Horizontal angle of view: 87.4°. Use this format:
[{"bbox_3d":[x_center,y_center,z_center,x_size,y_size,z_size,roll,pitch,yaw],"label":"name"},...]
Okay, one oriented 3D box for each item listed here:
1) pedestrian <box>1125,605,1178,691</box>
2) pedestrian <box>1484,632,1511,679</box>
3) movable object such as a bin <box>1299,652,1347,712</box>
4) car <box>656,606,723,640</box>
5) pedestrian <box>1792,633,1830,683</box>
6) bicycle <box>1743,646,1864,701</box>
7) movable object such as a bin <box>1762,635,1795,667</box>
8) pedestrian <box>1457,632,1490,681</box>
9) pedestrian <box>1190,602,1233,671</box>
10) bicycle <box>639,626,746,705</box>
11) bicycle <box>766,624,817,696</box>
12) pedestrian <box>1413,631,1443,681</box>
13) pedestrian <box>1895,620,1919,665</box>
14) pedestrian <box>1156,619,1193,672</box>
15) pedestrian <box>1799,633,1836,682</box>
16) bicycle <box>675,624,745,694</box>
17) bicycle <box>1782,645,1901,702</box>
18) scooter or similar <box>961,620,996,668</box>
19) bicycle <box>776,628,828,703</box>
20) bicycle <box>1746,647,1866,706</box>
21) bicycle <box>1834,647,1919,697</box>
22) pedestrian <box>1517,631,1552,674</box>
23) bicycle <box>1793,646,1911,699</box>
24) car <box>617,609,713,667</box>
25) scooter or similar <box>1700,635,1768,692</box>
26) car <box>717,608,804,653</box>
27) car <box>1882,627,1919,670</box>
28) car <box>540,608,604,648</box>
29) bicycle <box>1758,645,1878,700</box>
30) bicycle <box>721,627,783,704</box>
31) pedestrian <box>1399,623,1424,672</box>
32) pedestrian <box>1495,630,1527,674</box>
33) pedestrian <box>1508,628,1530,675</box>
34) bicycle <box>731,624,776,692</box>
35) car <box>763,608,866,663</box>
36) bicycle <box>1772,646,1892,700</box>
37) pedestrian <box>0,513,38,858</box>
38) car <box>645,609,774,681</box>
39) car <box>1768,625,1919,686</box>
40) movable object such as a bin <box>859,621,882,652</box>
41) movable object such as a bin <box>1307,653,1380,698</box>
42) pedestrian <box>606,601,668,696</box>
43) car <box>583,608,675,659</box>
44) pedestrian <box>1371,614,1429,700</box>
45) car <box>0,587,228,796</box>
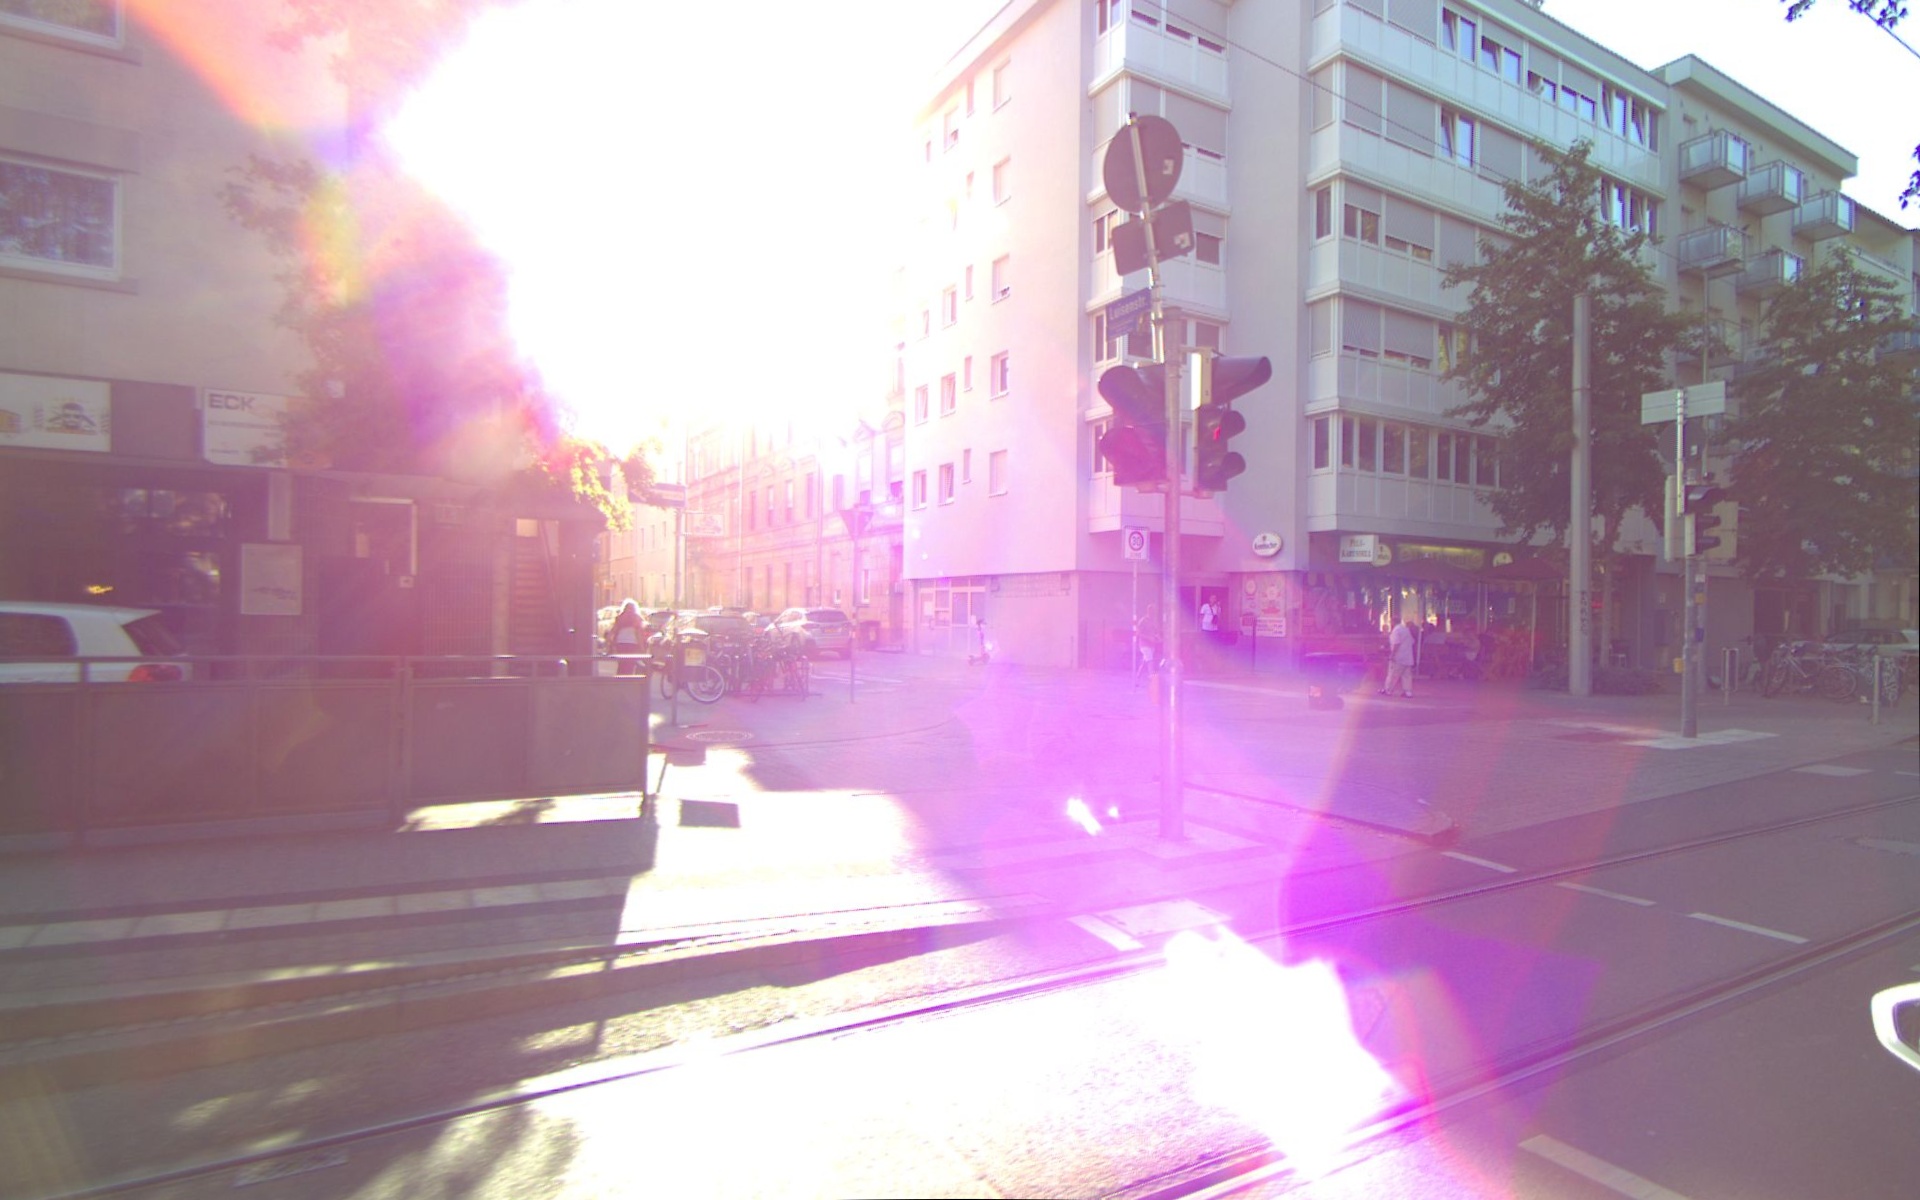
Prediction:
[{"bbox_3d":[3.884,0.955,20.394,0.761,1.693,0.752,1,-1,-36],"label":"pedestrian"},{"bbox_3d":[14.037,1.440,26.249,0.591,1.214,0.691,0,-1,25],"label":"pedestrian"},{"bbox_3d":[6.037,1.348,16.699,0.533,0.944,0.646,0,-1,43],"label":"movable object such as a bin"},{"bbox_3d":[-11.889,0.997,43.927,1.868,1.402,3.968,1,-1,-30],"label":"car"},{"bbox_3d":[22.892,1.548,27.015,0.743,1.314,0.705,2,-1,-44],"label":"pedestrian"},{"bbox_3d":[17.649,1.513,21.051,0.651,1.020,1.817,2,0,-35],"label":"bicycle"},{"bbox_3d":[27.731,1.730,34.038,0.614,1.069,0.675,1,-1,-29],"label":"movable object such as a bin"},{"bbox_3d":[12.967,1.408,25.370,0.557,1.214,0.509,1,-1,-29],"label":"pedestrian"},{"bbox_3d":[6.227,0.908,24.920,0.756,1.681,0.747,1,-1,-15],"label":"pedestrian"},{"bbox_3d":[-4.354,1.030,16.289,2.006,1.172,0.570,0,-1,38],"label":"bicycle"},{"bbox_3d":[-2.928,1.019,17.612,0.561,1.172,1.790,1,-1,1],"label":"bicycle"},{"bbox_3d":[11.474,1.363,24.622,0.506,1.214,0.560,0,-1,43],"label":"pedestrian"},{"bbox_3d":[36.898,1.643,39.036,0.740,1.713,0.660,1,-1,-32],"label":"pedestrian"},{"bbox_3d":[5.253,1.105,24.567,0.735,1.258,0.768,0,-1,26],"label":"pedestrian"},{"bbox_3d":[23.808,1.582,27.883,0.906,1.314,0.705,2,-1,-44],"label":"pedestrian"},{"bbox_3d":[-4.530,1.032,18.117,0.567,1.172,1.771,1,-1,-37],"label":"bicycle"},{"bbox_3d":[18.931,1.551,21.609,0.651,1.078,1.817,2,0,-35],"label":"bicycle"},{"bbox_3d":[0.509,1.186,27.523,0.489,1.276,1.306,0,-1,24],"label":"scooter or similar"},{"bbox_3d":[-2.628,1.069,16.895,0.561,1.172,1.790,1,-1,1],"label":"bicycle"},{"bbox_3d":[16.665,1.482,19.817,0.651,1.020,1.680,2,0,-35],"label":"bicycle"},{"bbox_3d":[20.839,1.604,22.581,0.651,1.020,1.680,2,0,-35],"label":"bicycle"},{"bbox_3d":[16.527,1.503,28.892,0.648,1.214,0.669,1,-1,-31],"label":"pedestrian"},{"bbox_3d":[19.569,1.561,22.070,0.651,1.020,1.817,2,0,-35],"label":"bicycle"},{"bbox_3d":[-8.393,1.025,28.394,1.783,1.524,3.753,1,-1,-29],"label":"car"},{"bbox_3d":[17.322,1.413,22.484,0.493,1.192,1.074,2,0,-31],"label":"scooter or similar"},{"bbox_3d":[-7.124,1.057,35.624,1.868,1.498,3.968,1,-1,-30],"label":"car"},{"bbox_3d":[35.243,1.771,35.176,1.832,1.495,3.990,2,0,-32],"label":"car"},{"bbox_3d":[-15.669,1.099,40.422,1.872,1.524,3.753,1,-1,-29],"label":"car"},{"bbox_3d":[18.068,1.509,21.197,0.651,1.020,1.817,2,0,-35],"label":"bicycle"},{"bbox_3d":[-3.466,1.042,16.598,0.564,1.172,1.852,1,-1,-26],"label":"bicycle"},{"bbox_3d":[11.424,1.196,25.414,0.553,1.214,0.513,0,-1,25],"label":"pedestrian"},{"bbox_3d":[15.461,1.462,28.196,0.617,1.214,0.559,1,-1,-31],"label":"pedestrian"},{"bbox_3d":[14.813,1.347,26.619,0.504,1.214,0.562,0,-1,31],"label":"pedestrian"},{"bbox_3d":[-3.801,1.036,18.409,0.563,1.172,1.782,1,-1,-19],"label":"bicycle"},{"bbox_3d":[-4.612,1.058,31.397,1.868,1.602,3.968,1,-1,-30],"label":"car"},{"bbox_3d":[18.630,1.535,21.499,0.651,1.020,1.817,2,0,-35],"label":"bicycle"},{"bbox_3d":[-4.870,0.398,4.621,0.763,1.606,0.651,1,-1,-30],"label":"pedestrian"},{"bbox_3d":[-5.977,0.994,23.618,1.872,1.524,4.261,1,-1,-29],"label":"car"},{"bbox_3d":[25.752,1.550,28.527,1.829,1.495,3.994,2,0,-29],"label":"car"},{"bbox_3d":[-3.110,1.264,34.895,0.640,1.071,0.538,1,-1,-21],"label":"movable object such as a bin"},{"bbox_3d":[7.486,1.466,19.620,1.178,0.767,0.663,2,0,38],"label":"movable object such as a bin"},{"bbox_3d":[-5.528,0.819,17.227,0.711,1.577,0.728,1,-1,12],"label":"pedestrian"},{"bbox_3d":[-10.836,1.051,32.704,1.876,1.524,3.746,1,-1,-34],"label":"car"},{"bbox_3d":[8.359,1.064,19.094,0.761,1.577,0.720,1,-1,-36],"label":"pedestrian"},{"bbox_3d":[-8.879,0.733,8.364,4.309,1.673,1.868,1,-2,-32],"label":"car"}]
